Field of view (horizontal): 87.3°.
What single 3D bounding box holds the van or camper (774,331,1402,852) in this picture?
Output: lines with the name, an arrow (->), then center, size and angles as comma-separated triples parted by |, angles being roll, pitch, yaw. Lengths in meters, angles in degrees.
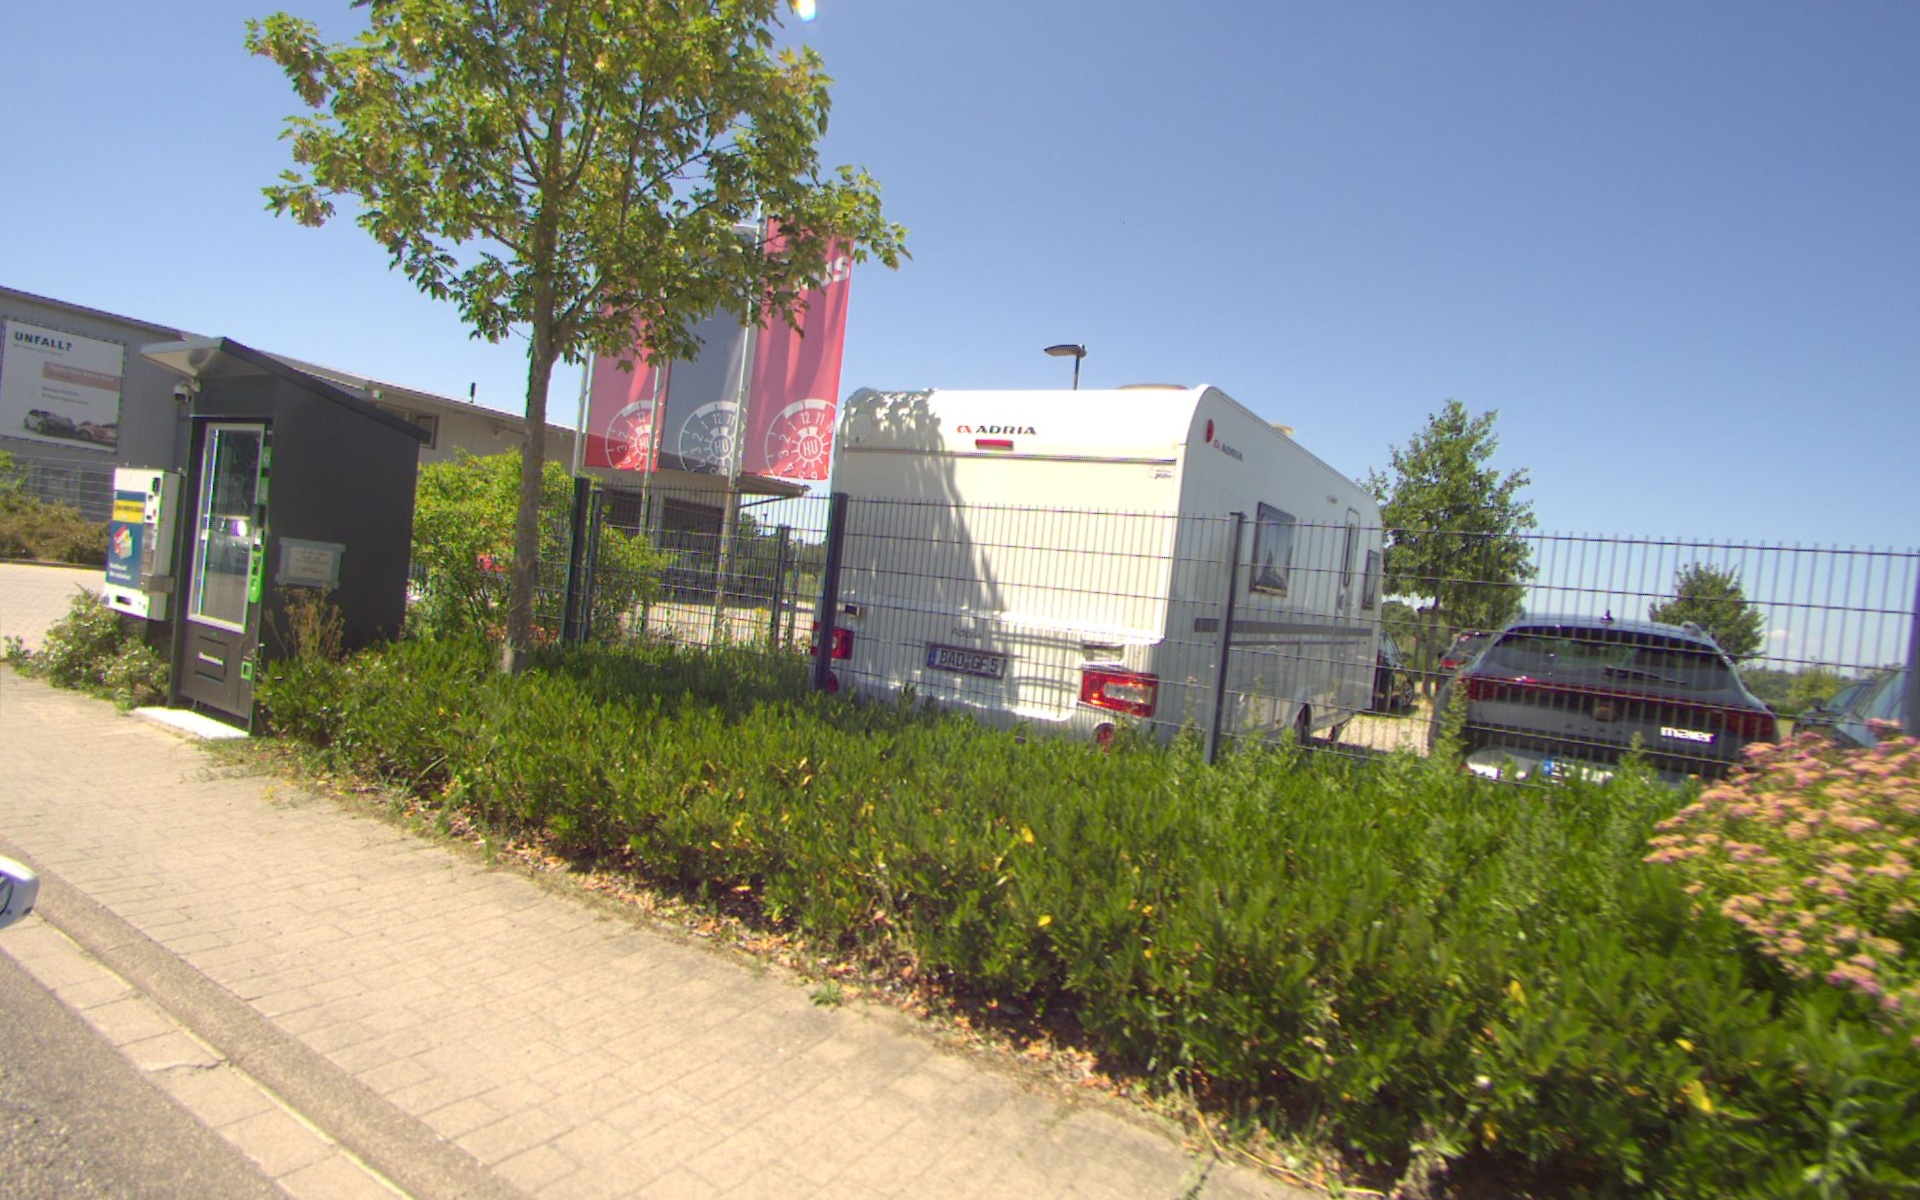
van or camper -> 1.778, 0.033, 8.606 | 2.592, 2.617, 6.763 | 7, 0, 31

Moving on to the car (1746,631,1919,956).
car -> 6.384, 1.088, 6.202 | 1.778, 1.557, 4.139 | 7, 1, 31

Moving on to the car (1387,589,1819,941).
car -> 4.363, 0.874, 7.104 | 1.778, 1.557, 4.139 | 7, 1, 31

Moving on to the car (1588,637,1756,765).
car -> 11.169, 1.510, 16.040 | 1.719, 1.568, 4.044 | 7, 1, 31

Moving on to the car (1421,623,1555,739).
car -> 9.044, 1.305, 17.067 | 1.650, 1.562, 3.824 | 7, 1, 31

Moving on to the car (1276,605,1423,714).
car -> 7.161, 1.061, 18.282 | 1.721, 1.596, 3.824 | 7, 1, 31

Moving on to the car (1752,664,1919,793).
car -> 12.860, 1.756, 14.422 | 1.719, 1.450, 4.044 | 7, 1, 31

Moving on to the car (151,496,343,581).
car -> -18.474, -1.543, 26.211 | 1.674, 1.698, 3.615 | 7, 0, 31
